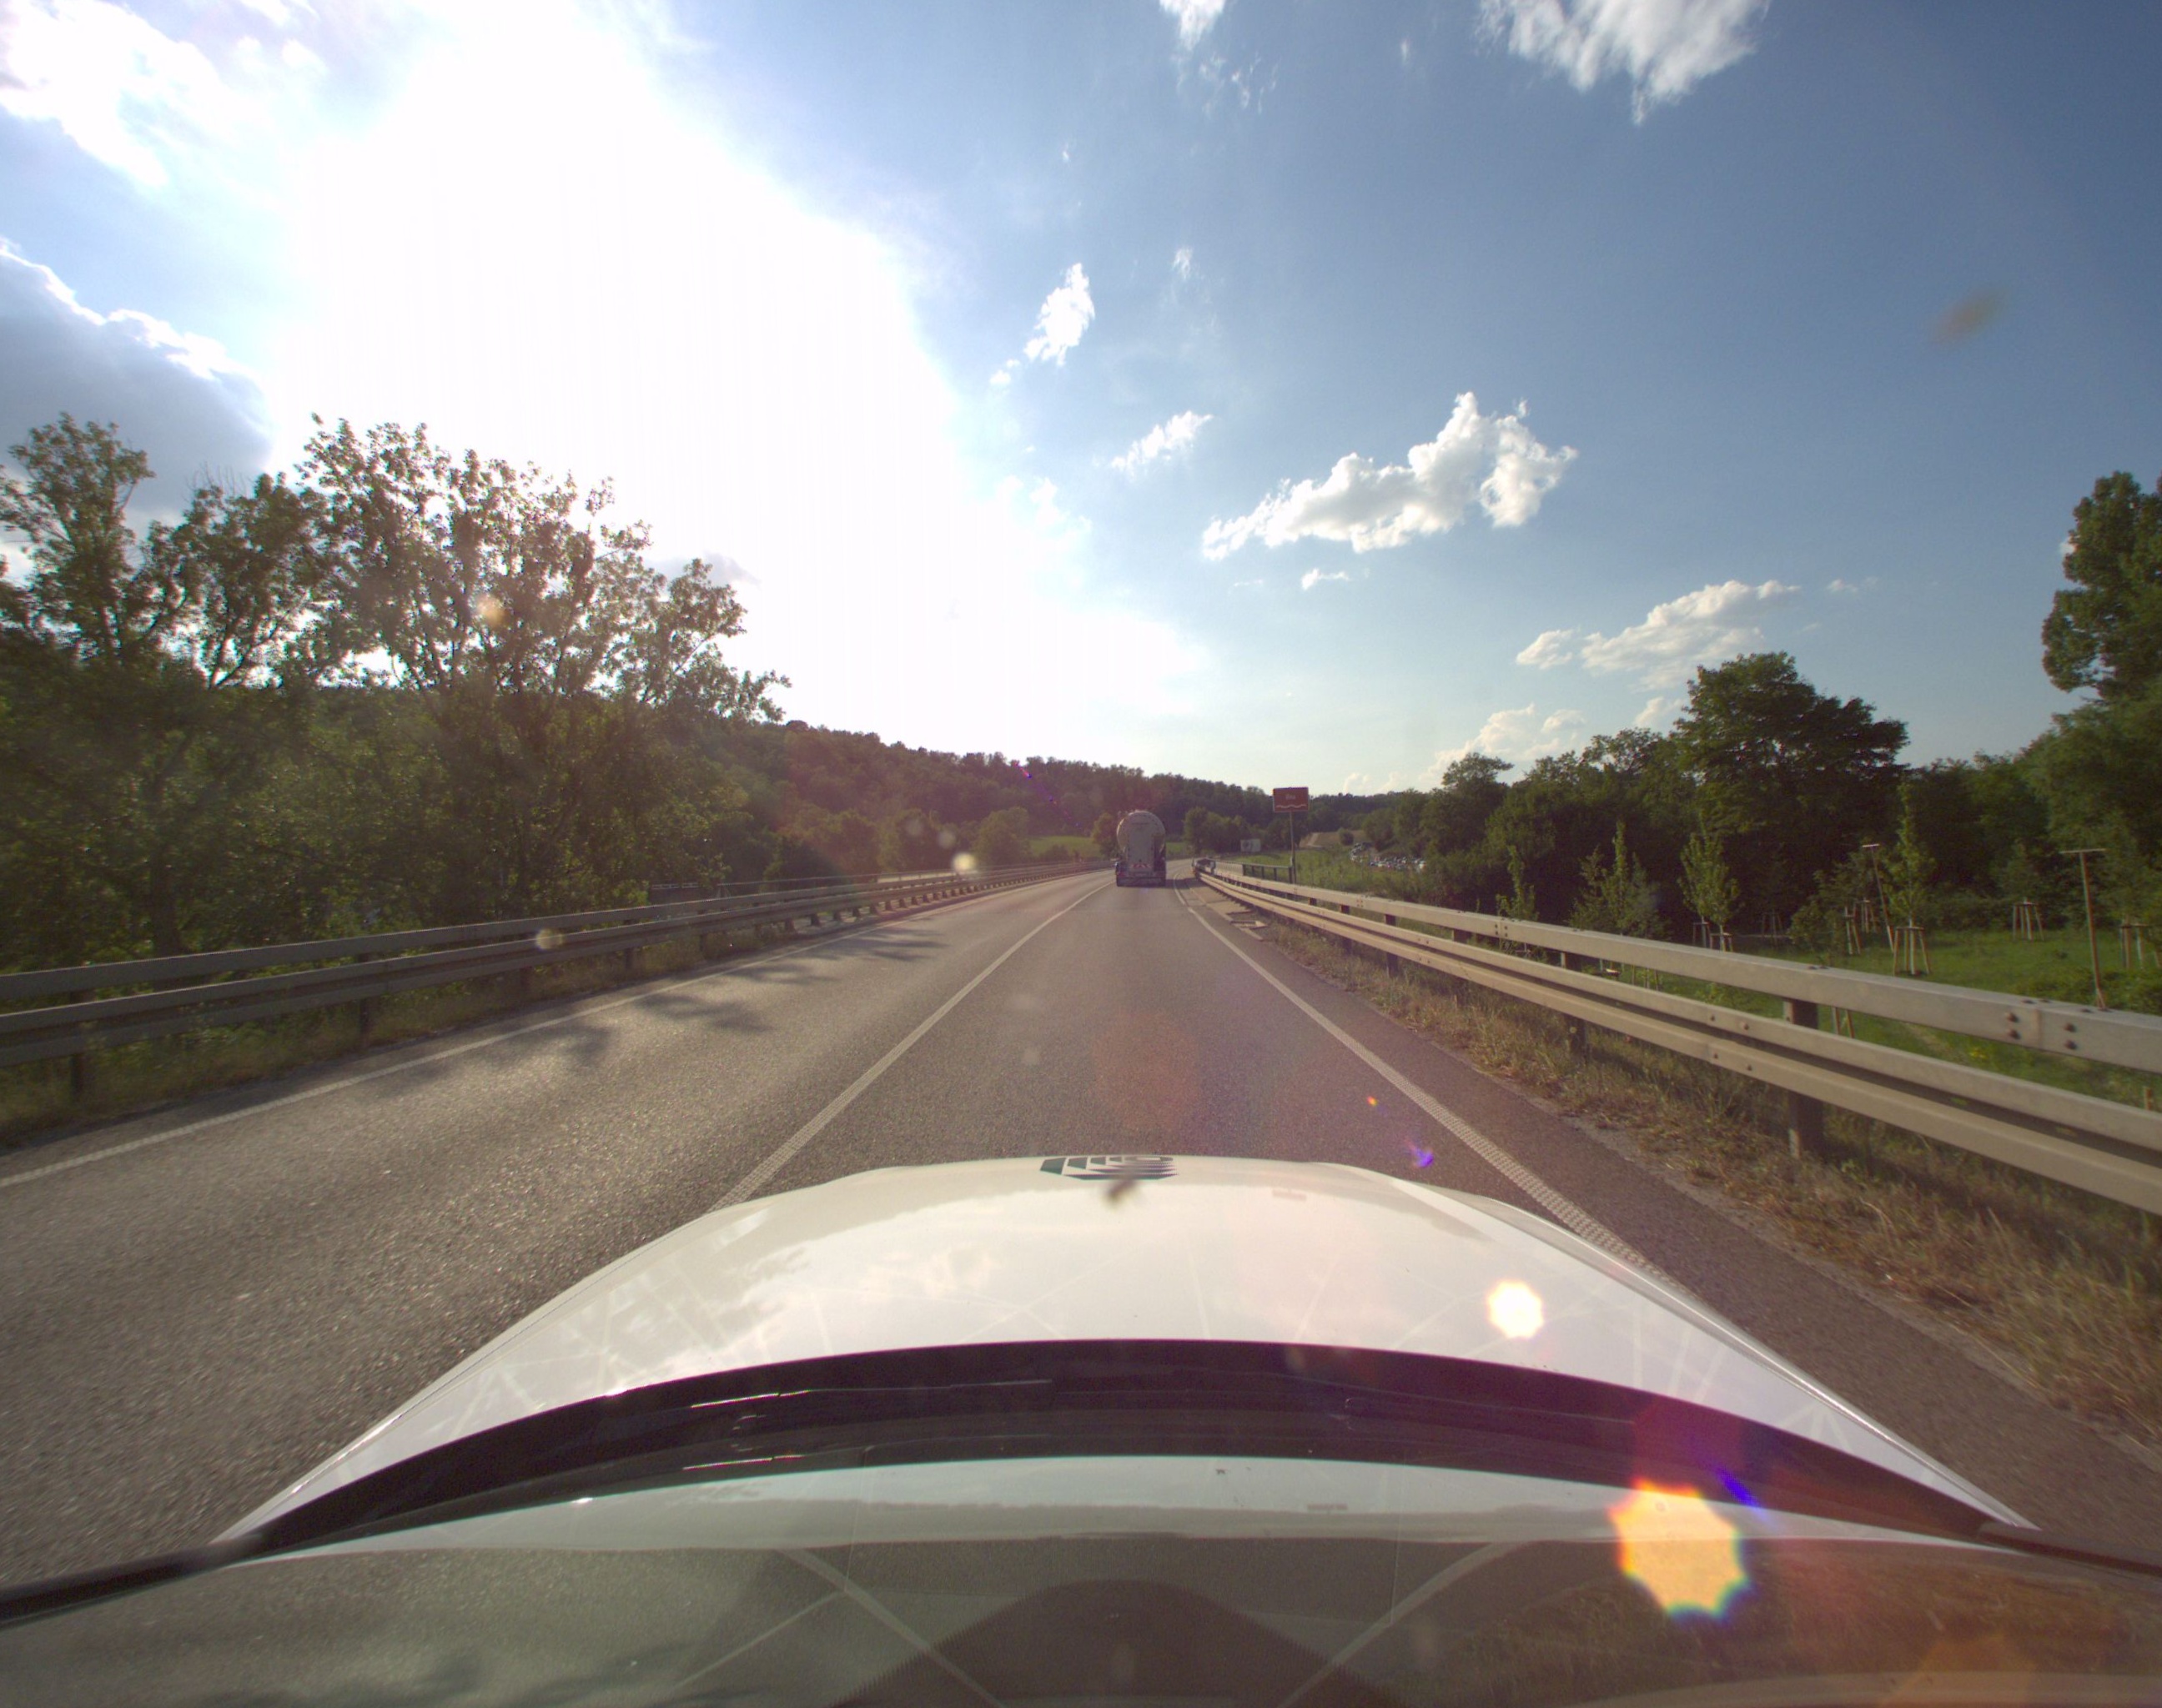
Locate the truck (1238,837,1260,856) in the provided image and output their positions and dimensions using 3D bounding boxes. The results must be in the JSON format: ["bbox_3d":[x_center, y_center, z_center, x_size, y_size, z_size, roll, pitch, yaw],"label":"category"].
[{"bbox_3d":[41.224,-1.830,199.574,3.157,4.227,13.240,-2,1,20],"label":"truck"}]

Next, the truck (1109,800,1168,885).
[{"bbox_3d":[3.336,-0.591,46.839,2.879,4.142,13.188,-1,0,4],"label":"truck"}]

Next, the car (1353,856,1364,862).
[{"bbox_3d":[76.998,1.395,226.078,1.881,1.482,4.795,-5,1,9],"label":"car"}]
